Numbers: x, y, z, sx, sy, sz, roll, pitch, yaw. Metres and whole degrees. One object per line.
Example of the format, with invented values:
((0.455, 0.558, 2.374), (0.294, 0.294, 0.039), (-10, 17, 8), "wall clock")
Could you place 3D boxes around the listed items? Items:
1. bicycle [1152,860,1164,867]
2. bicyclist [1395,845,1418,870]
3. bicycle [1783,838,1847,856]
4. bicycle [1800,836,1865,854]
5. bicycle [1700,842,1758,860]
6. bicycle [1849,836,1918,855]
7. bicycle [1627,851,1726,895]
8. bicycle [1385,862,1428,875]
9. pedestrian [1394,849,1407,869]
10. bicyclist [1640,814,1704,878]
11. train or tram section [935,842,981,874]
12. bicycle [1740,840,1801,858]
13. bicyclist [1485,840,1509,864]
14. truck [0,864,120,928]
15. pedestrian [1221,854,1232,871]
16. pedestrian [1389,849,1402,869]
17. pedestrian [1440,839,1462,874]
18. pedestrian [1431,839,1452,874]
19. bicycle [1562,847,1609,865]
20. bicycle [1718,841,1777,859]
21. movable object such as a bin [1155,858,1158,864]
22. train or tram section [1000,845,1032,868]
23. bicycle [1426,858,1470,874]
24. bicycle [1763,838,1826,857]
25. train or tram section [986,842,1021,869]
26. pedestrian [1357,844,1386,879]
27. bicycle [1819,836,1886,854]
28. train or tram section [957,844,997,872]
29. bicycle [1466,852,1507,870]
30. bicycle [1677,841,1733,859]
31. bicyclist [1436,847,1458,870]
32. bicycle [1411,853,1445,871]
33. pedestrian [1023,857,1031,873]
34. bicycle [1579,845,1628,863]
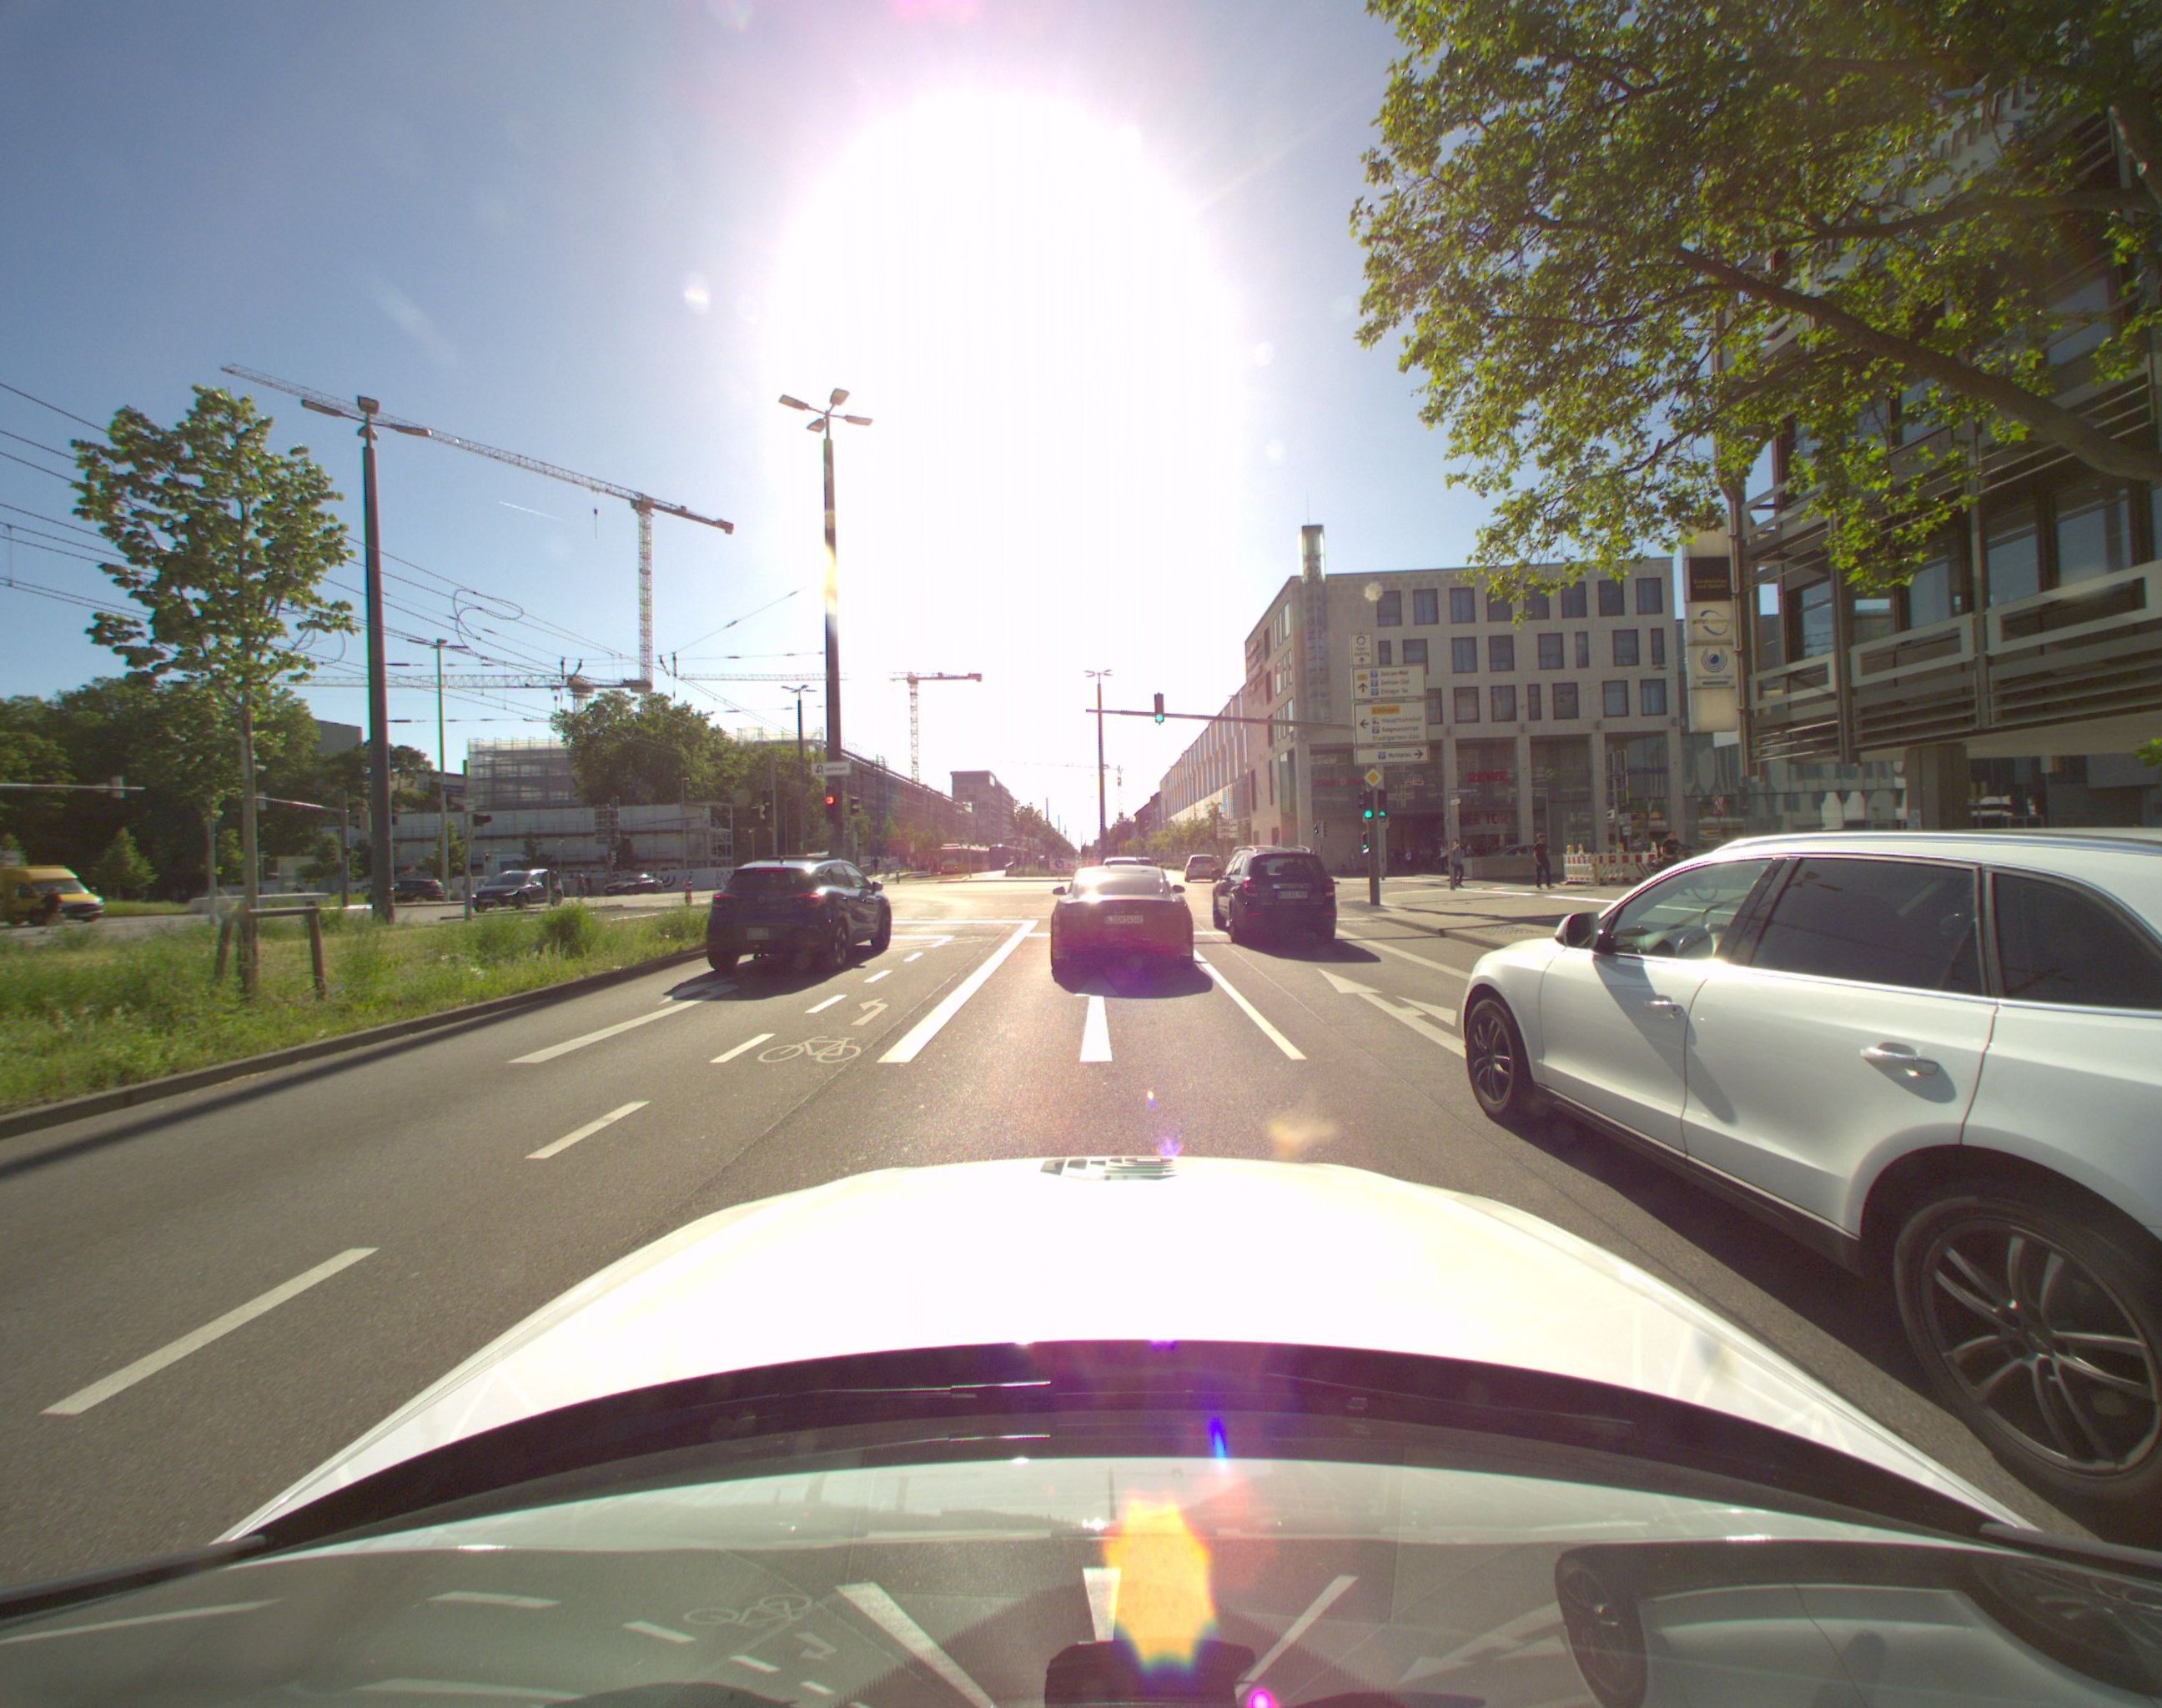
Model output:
((13.032, 1.591, 137.151), (1.881, 1.151, 0.669), (-3, -1, -10), "bicycle")
((20.035, 0.213, 50.146), (1.017, 1.476, 1.073), (-2, -1, 5), "bicyclist")
((46.427, -0.418, 51.612), (1.061, 1.094, 3.501), (-2, 0, 4), "bicycle")
((47.600, -0.537, 51.662), (1.061, 1.094, 3.501), (-2, 0, 4), "bicycle")
((41.274, -0.174, 51.957), (1.061, 1.094, 3.501), (-2, 0, 4), "bicycle")
((50.344, -0.528, 51.176), (1.061, 1.094, 3.501), (-2, 0, 4), "bicycle")
((14.306, 0.442, 19.650), (0.878, 0.984, 2.051), (-2, 0, 1), "bicycle")
((20.017, 0.886, 50.128), (2.183, 0.671, 1.073), (-2, 0, 4), "bicycle")
((25.706, 0.399, 65.594), (0.559, 1.608, 0.742), (-2, 0, -36), "pedestrian")
((14.289, -0.187, 19.704), (0.878, 1.477, 0.883), (-2, 0, 1), "bicyclist")
((-13.434, 0.448, 90.195), (2.860, 3.310, 13.073), (0, 0, 1), "train or tram section")
((43.859, -0.290, 51.854), (1.061, 1.094, 3.501), (-2, 0, 4), "bicycle")
((25.445, -0.118, 49.837), (0.928, 1.433, 1.042), (-2, -1, 4), "bicyclist")
((-50.437, 2.008, 38.403), (7.967, 2.793, 2.467), (-2, -1, 6), "truck")
((14.300, 0.844, 79.892), (0.819, 1.658, 0.899), (-1, -1, -4), "pedestrian")
((25.174, 0.394, 65.194), (0.559, 1.608, 0.742), (-2, 0, -35), "pedestrian")
((17.295, 0.110, 38.063), (0.659, 1.612, 0.525), (-4, -1, -8), "pedestrian")
((17.094, 0.110, 38.633), (0.659, 1.612, 0.525), (-4, -1, -8), "pedestrian")
((32.455, 0.122, 52.462), (1.061, 1.094, 3.501), (-2, 0, 4), "bicycle")
((42.428, -0.254, 51.903), (1.061, 1.094, 3.501), (-2, 0, 4), "bicycle")
((16.490, 1.524, 178.105), (0.556, 1.169, 0.563), (0, -1, 4), "movable object such as a bin")
((-9.811, 0.400, 126.142), (2.860, 3.279, 22.144), (0, 0, 1), "train or tram section")
((22.508, 0.735, 49.974), (2.183, 0.943, 1.073), (-2, -1, 4), "bicycle")
((45.203, -0.404, 51.644), (1.061, 1.094, 3.501), (-2, 0, 4), "bicycle")
((-10.077, 0.263, 107.447), (2.860, 3.279, 15.186), (0, 0, 1), "train or tram section")
((15.895, 0.412, 44.596), (0.963, 1.801, 1.523), (-4, -1, 1), "pedestrian")
((48.757, -0.562, 51.561), (1.061, 1.094, 3.501), (-2, 0, 4), "bicycle")
((-13.196, 0.535, 104.694), (2.838, 3.321, 15.967), (0, 0, 1), "train or tram section")
((26.209, 0.417, 52.738), (1.061, 1.094, 3.500), (-2, 0, 3), "bicycle")
((40.126, -0.221, 52.424), (1.061, 1.094, 3.501), (-2, 0, 4), "bicycle")
((22.454, 0.272, 49.975), (0.928, 1.396, 1.078), (-2, -1, 4), "bicyclist")
((22.675, 0.505, 53.288), (1.061, 1.094, 2.993), (-2, 0, 3), "bicycle")
((-5.828, 1.176, 87.357), (0.739, 1.628, 0.862), (-2, -1, 2), "pedestrian")
((33.634, 0.035, 52.490), (1.061, 1.094, 3.501), (-2, 0, 4), "bicycle")
